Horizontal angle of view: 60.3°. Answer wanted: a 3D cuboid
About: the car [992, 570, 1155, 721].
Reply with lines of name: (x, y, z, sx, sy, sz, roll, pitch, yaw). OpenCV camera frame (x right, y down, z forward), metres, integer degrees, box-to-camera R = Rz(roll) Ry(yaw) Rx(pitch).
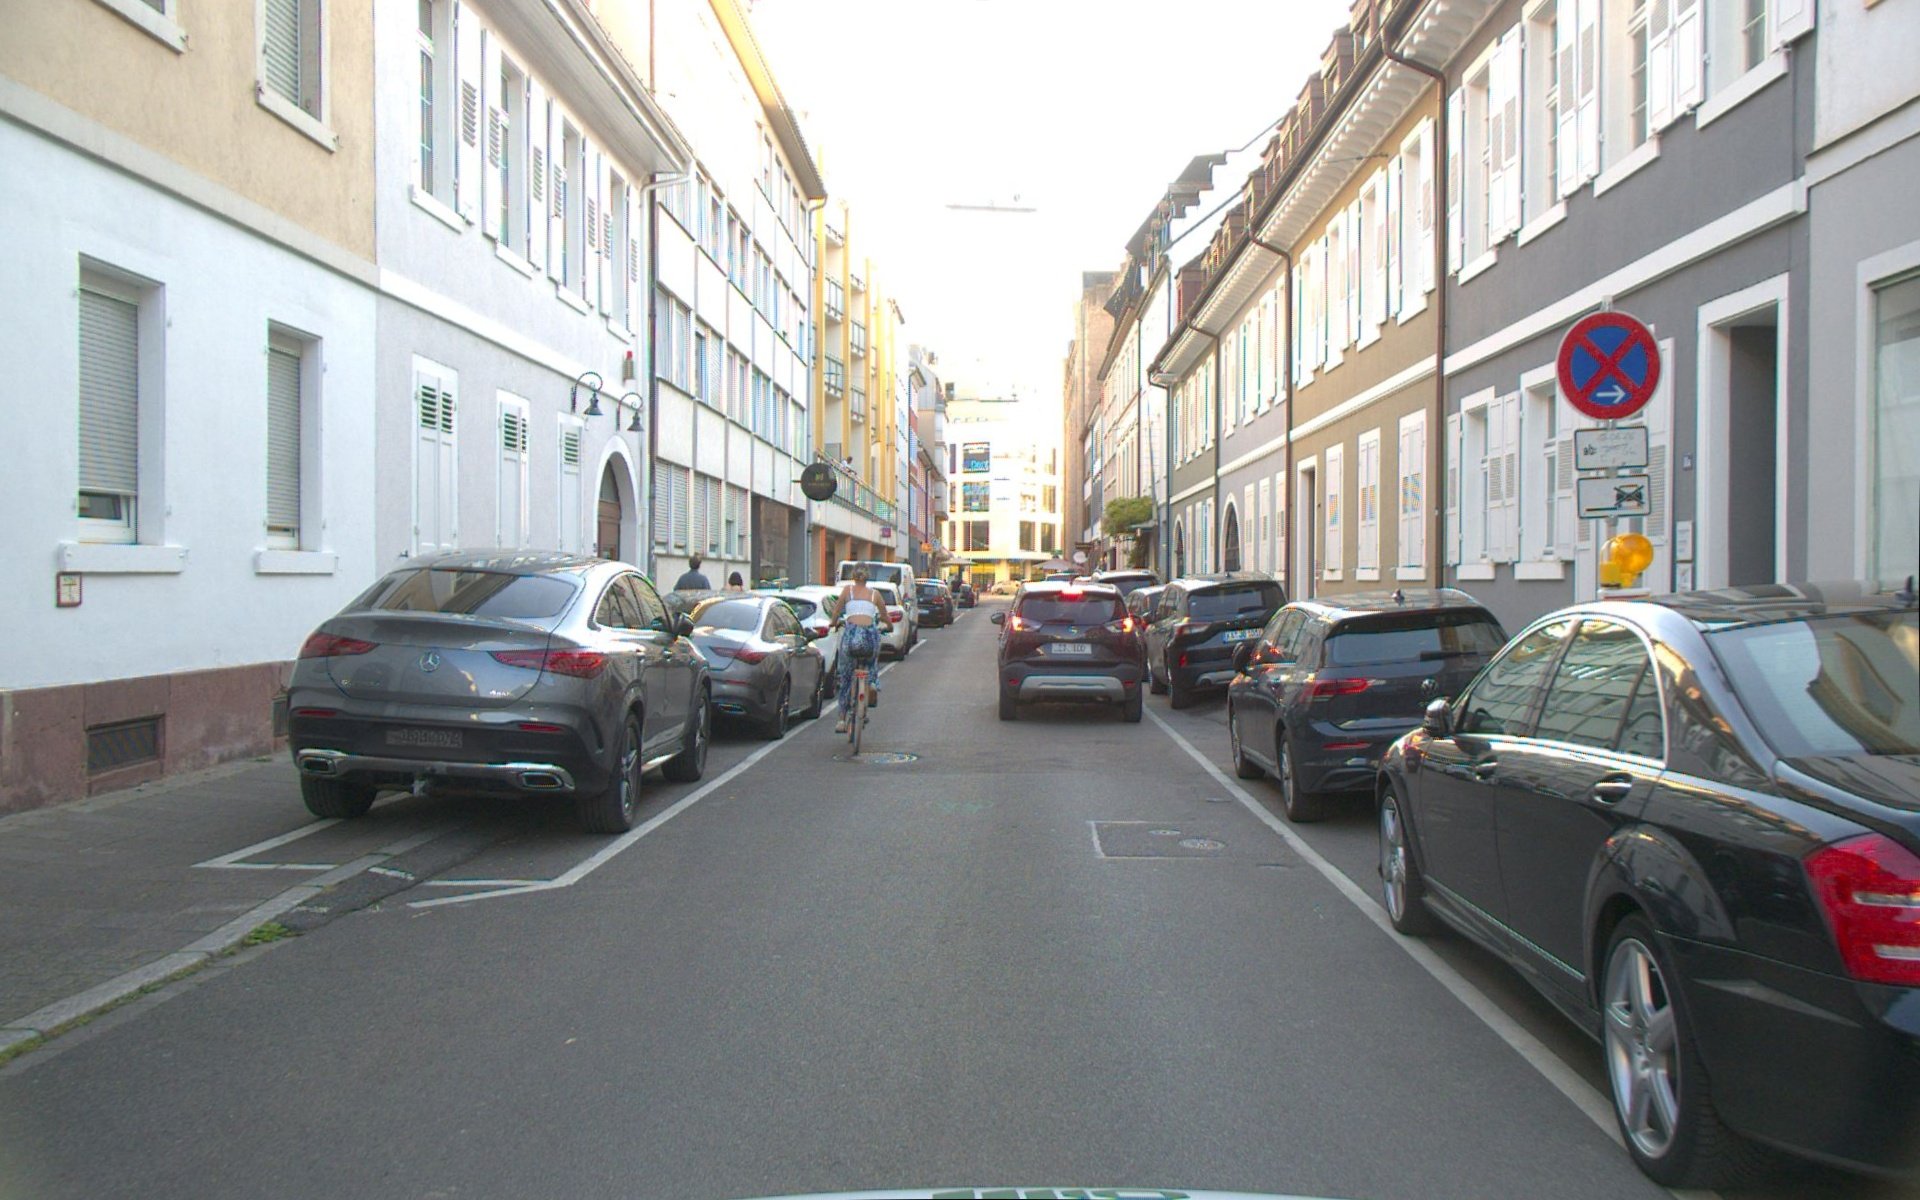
car: (1.315, 0.478, 20.490, 1.782, 1.646, 4.001, 1, 1, 1)

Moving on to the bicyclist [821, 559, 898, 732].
bicyclist: (-0.948, 0.417, 15.753, 0.607, 1.602, 0.684, 1, 0, 6)

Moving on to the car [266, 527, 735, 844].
car: (-2.891, 0.450, 11.572, 1.957, 1.737, 4.536, 1, 1, 0)

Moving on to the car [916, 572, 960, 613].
car: (-0.872, -0.332, 67.864, 1.619, 1.588, 3.607, 1, 1, 2)

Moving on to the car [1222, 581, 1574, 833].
car: (3.040, 0.642, 12.292, 1.641, 1.512, 4.001, 1, 1, 2)

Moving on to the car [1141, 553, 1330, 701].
car: (3.606, 0.299, 22.380, 1.878, 1.768, 4.154, 1, 1, 1)

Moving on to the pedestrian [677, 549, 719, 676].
pedestrian: (-4.275, 0.198, 26.997, 0.597, 2.049, 0.450, 0, 0, -1)

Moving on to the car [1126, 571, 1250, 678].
car: (3.672, 0.348, 27.135, 1.619, 1.588, 3.607, 1, 1, 2)

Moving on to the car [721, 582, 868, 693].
car: (-2.342, 0.484, 24.284, 1.619, 1.435, 3.904, 1, 1, 2)

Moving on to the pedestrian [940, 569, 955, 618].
pedestrian: (-0.452, -0.241, 60.740, 0.542, 1.782, 0.568, 0, 0, -1)

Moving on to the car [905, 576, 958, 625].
car: (-0.951, -0.006, 56.863, 1.619, 1.588, 3.607, 1, 1, 2)

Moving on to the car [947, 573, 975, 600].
car: (0.077, -0.839, 102.235, 1.619, 1.588, 3.607, 1, 1, 2)

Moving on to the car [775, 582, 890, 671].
car: (-2.205, 0.419, 29.374, 1.619, 1.435, 3.607, 1, 1, 2)

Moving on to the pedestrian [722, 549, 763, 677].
pedestrian: (-3.508, 0.209, 26.725, 0.597, 2.049, 0.450, 0, 0, -1)

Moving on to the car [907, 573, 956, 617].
car: (-1.032, -0.207, 62.173, 1.619, 1.588, 3.607, 1, 1, 2)

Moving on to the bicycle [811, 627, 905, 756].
bicycle: (-0.948, 0.833, 15.758, 0.600, 1.101, 1.810, 1, 1, 5)

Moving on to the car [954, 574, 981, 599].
car: (0.531, -0.920, 108.997, 1.619, 1.588, 3.607, 1, 1, 2)

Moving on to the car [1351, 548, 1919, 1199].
car: (2.727, 0.646, 5.602, 1.781, 1.556, 5.073, -3, 0, 3)

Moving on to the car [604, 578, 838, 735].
car: (-2.450, 0.511, 18.003, 1.879, 1.459, 4.294, 1, 1, 0)

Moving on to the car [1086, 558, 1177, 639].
car: (3.557, -0.056, 34.729, 1.619, 1.588, 3.607, 1, 1, 2)

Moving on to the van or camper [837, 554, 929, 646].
van or camper: (-1.812, -0.035, 40.194, 1.806, 2.048, 4.680, 1, 1, 2)

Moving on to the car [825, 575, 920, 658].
car: (-1.765, 0.295, 34.344, 1.619, 1.588, 3.607, 1, 1, 2)
